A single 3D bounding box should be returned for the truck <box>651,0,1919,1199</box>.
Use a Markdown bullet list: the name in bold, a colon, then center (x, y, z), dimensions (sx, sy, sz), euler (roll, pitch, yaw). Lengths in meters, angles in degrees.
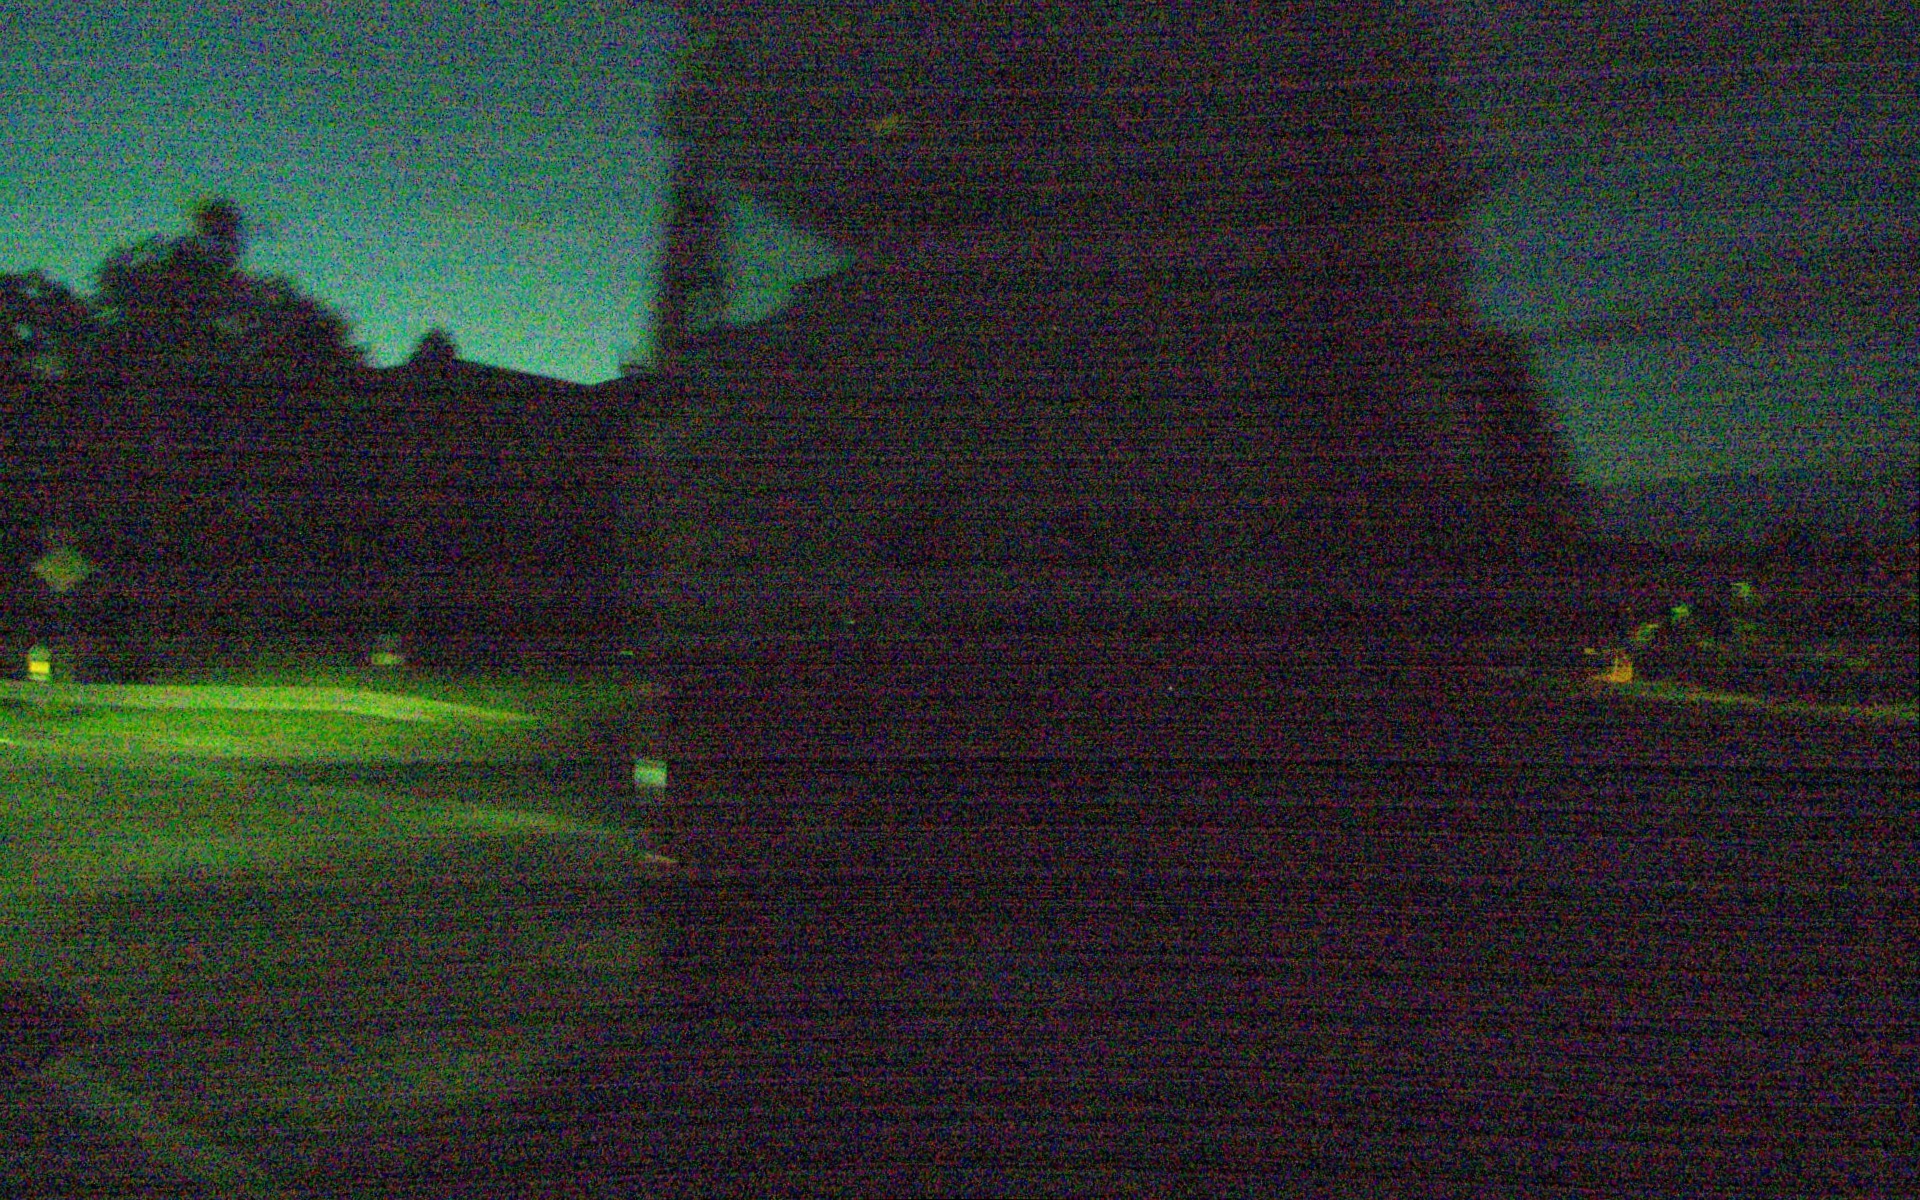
- **truck**: center (5.377, -0.602, 0.334), dimensions (12.952, 4.159, 2.683), euler (-1, -1, 32)
